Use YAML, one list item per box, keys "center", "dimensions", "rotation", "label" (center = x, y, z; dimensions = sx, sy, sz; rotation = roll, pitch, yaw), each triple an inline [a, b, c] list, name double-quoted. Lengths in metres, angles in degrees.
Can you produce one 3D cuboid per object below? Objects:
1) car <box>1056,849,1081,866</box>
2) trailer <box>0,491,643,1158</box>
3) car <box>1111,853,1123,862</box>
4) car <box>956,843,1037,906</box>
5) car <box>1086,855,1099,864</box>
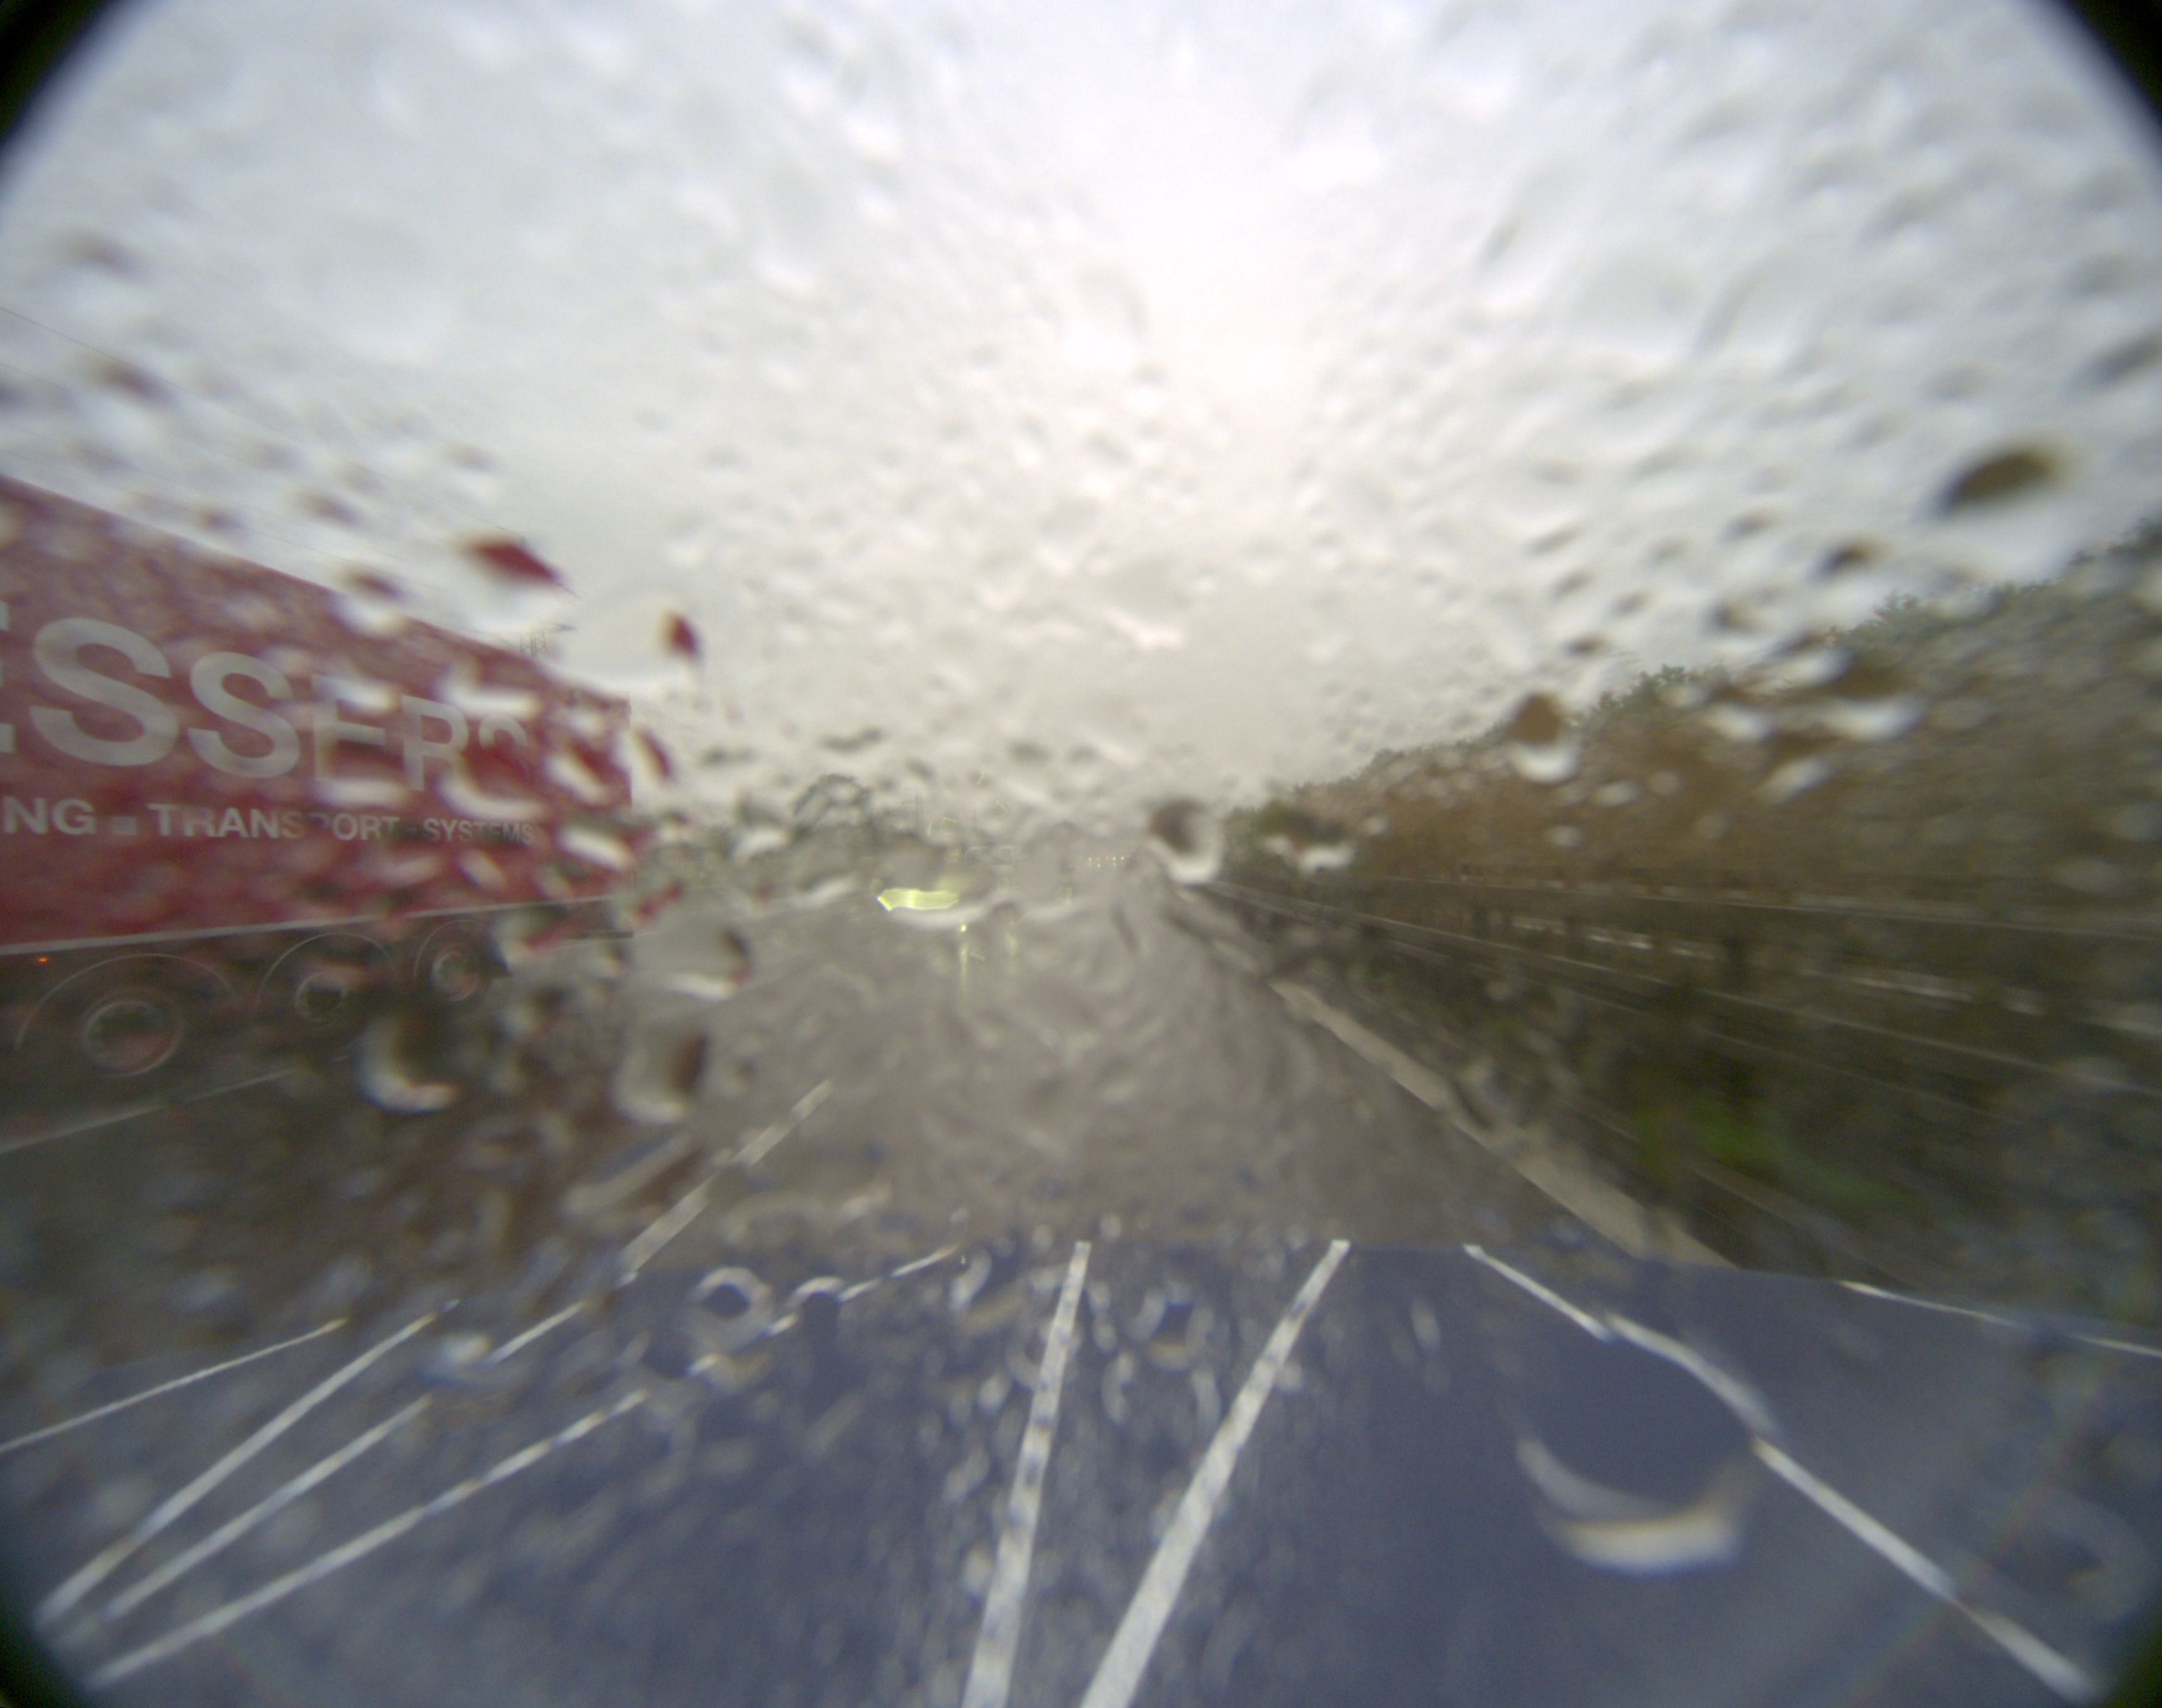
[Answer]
- center: [-1.165, 0.333, 73.690]
  dimensions: [1.768, 1.448, 3.961]
  rotation: [-4, 0, 7]
  label: "car"
- center: [-7.687, -0.145, 3.909]
  dimensions: [2.626, 3.932, 13.629]
  rotation: [-2, 0, 1]
  label: "trailer"
- center: [6.453, 0.553, 136.708]
  dimensions: [1.768, 1.448, 3.961]
  rotation: [-4, 0, 7]
  label: "car"
- center: [-2.799, 0.646, 26.447]
  dimensions: [1.892, 1.873, 5.010]
  rotation: [-5, 0, 3]
  label: "car"
- center: [2.023, 0.897, 134.970]
  dimensions: [1.768, 1.448, 3.961]
  rotation: [-4, 0, 7]
  label: "car"
